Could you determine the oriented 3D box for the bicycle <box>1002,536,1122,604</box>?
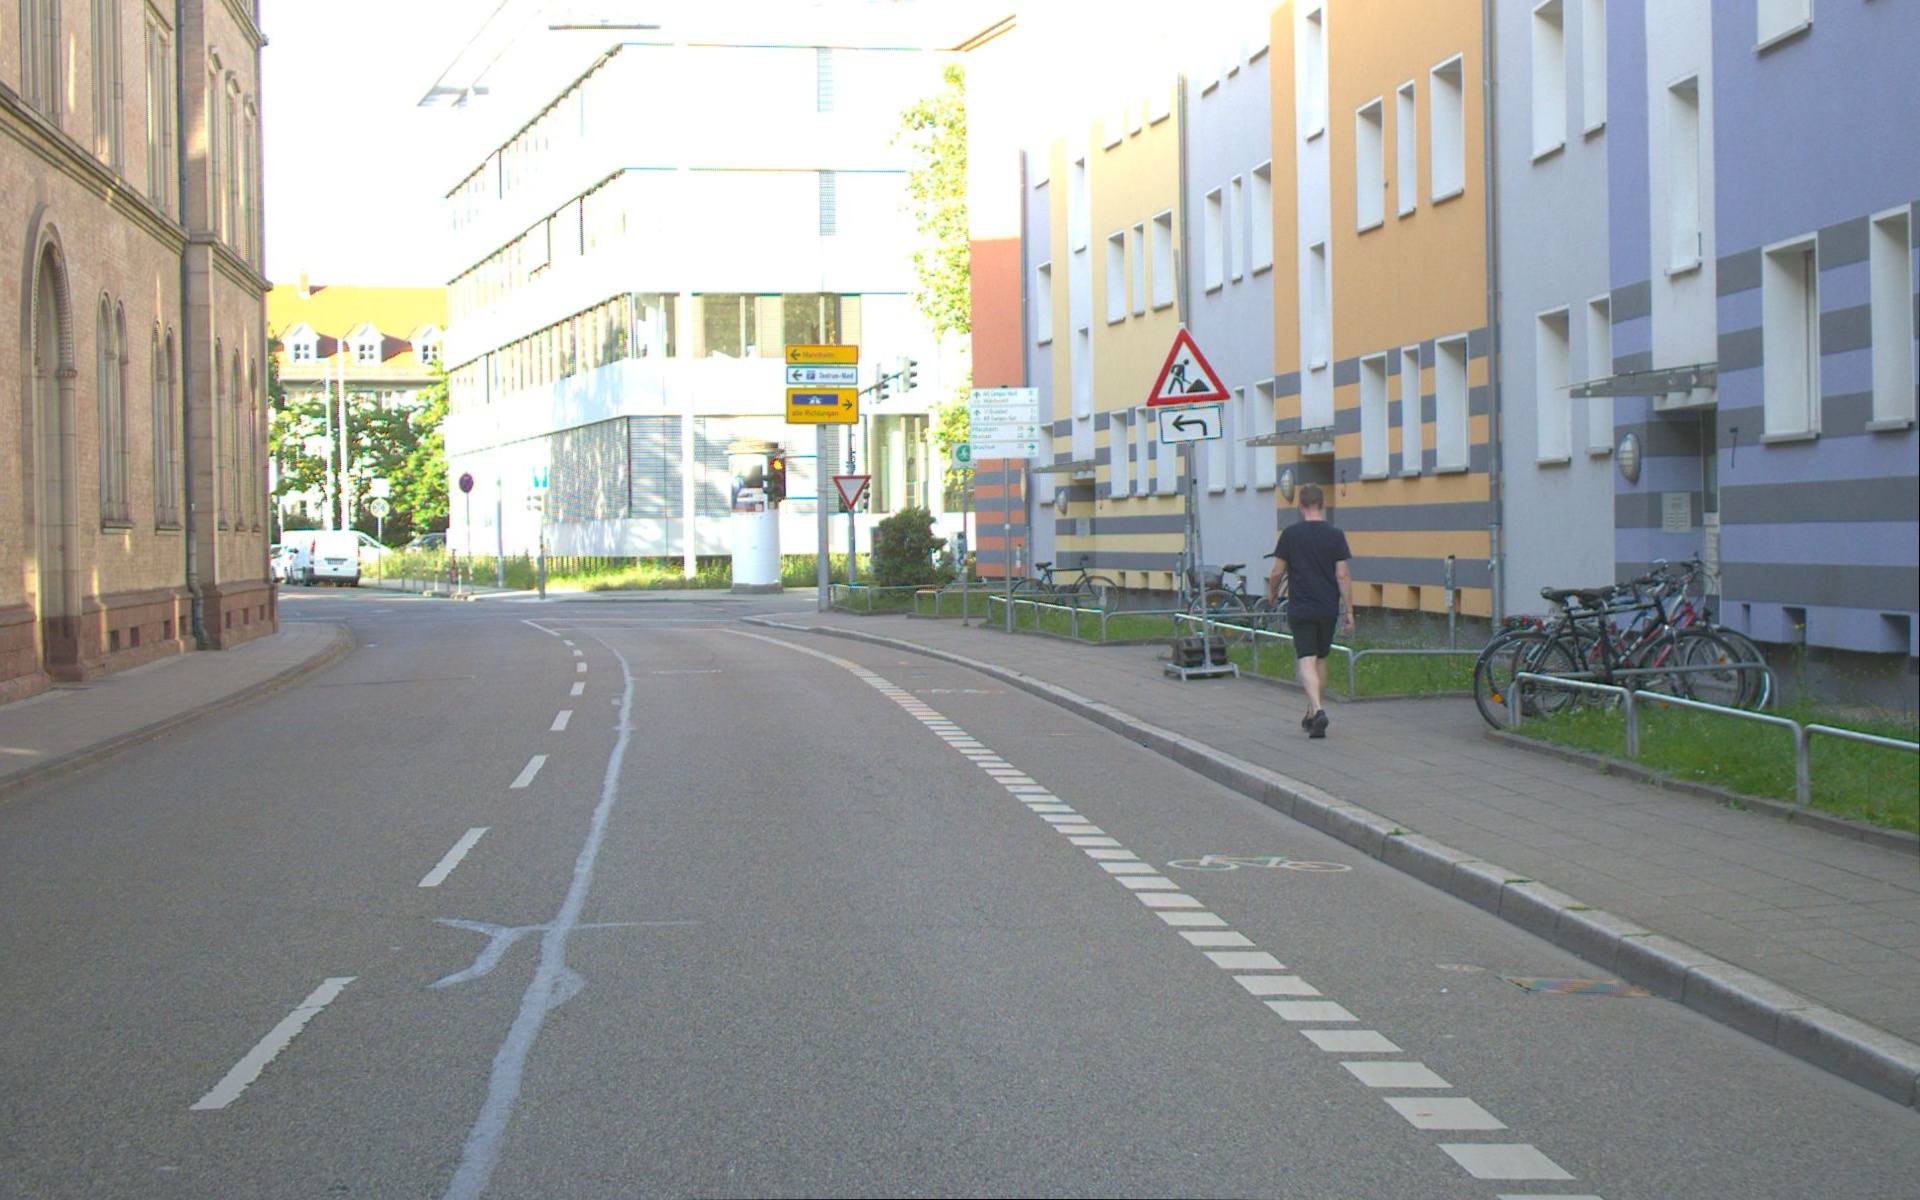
[{"bbox_3d":[1.594,-0.473,53.668,1.753,1.000,0.613,-2,1,-9],"label":"bicycle"}]

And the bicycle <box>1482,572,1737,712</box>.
[{"bbox_3d":[4.656,0.298,24.676,1.748,0.943,0.326,-2,1,-3],"label":"bicycle"}]

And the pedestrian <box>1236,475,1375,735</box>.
[{"bbox_3d":[2.425,0.021,24.234,0.696,1.754,1.189,-3,1,-4],"label":"pedestrian"}]

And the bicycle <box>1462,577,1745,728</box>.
[{"bbox_3d":[4.274,0.344,22.874,1.748,0.943,0.552,-2,1,-4],"label":"bicycle"}]

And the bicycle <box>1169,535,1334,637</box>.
[{"bbox_3d":[3.358,-0.163,39.613,1.810,1.133,0.552,-1,1,-5],"label":"bicycle"}]

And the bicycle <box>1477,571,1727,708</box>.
[{"bbox_3d":[4.689,0.285,25.126,1.748,0.943,0.335,-2,1,-4],"label":"bicycle"}]

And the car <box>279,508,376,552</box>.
[{"bbox_3d":[-29.060,-3.219,157.951,3.986,1.908,1.920,1,0,-27],"label":"car"}]

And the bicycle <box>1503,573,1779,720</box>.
[{"bbox_3d":[4.655,0.314,23.528,1.748,0.943,0.552,-2,1,-4],"label":"bicycle"}]

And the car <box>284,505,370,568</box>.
[{"bbox_3d":[-22.284,-2.210,120.902,2.423,2.104,5.233,1,1,-16],"label":"car"}]
